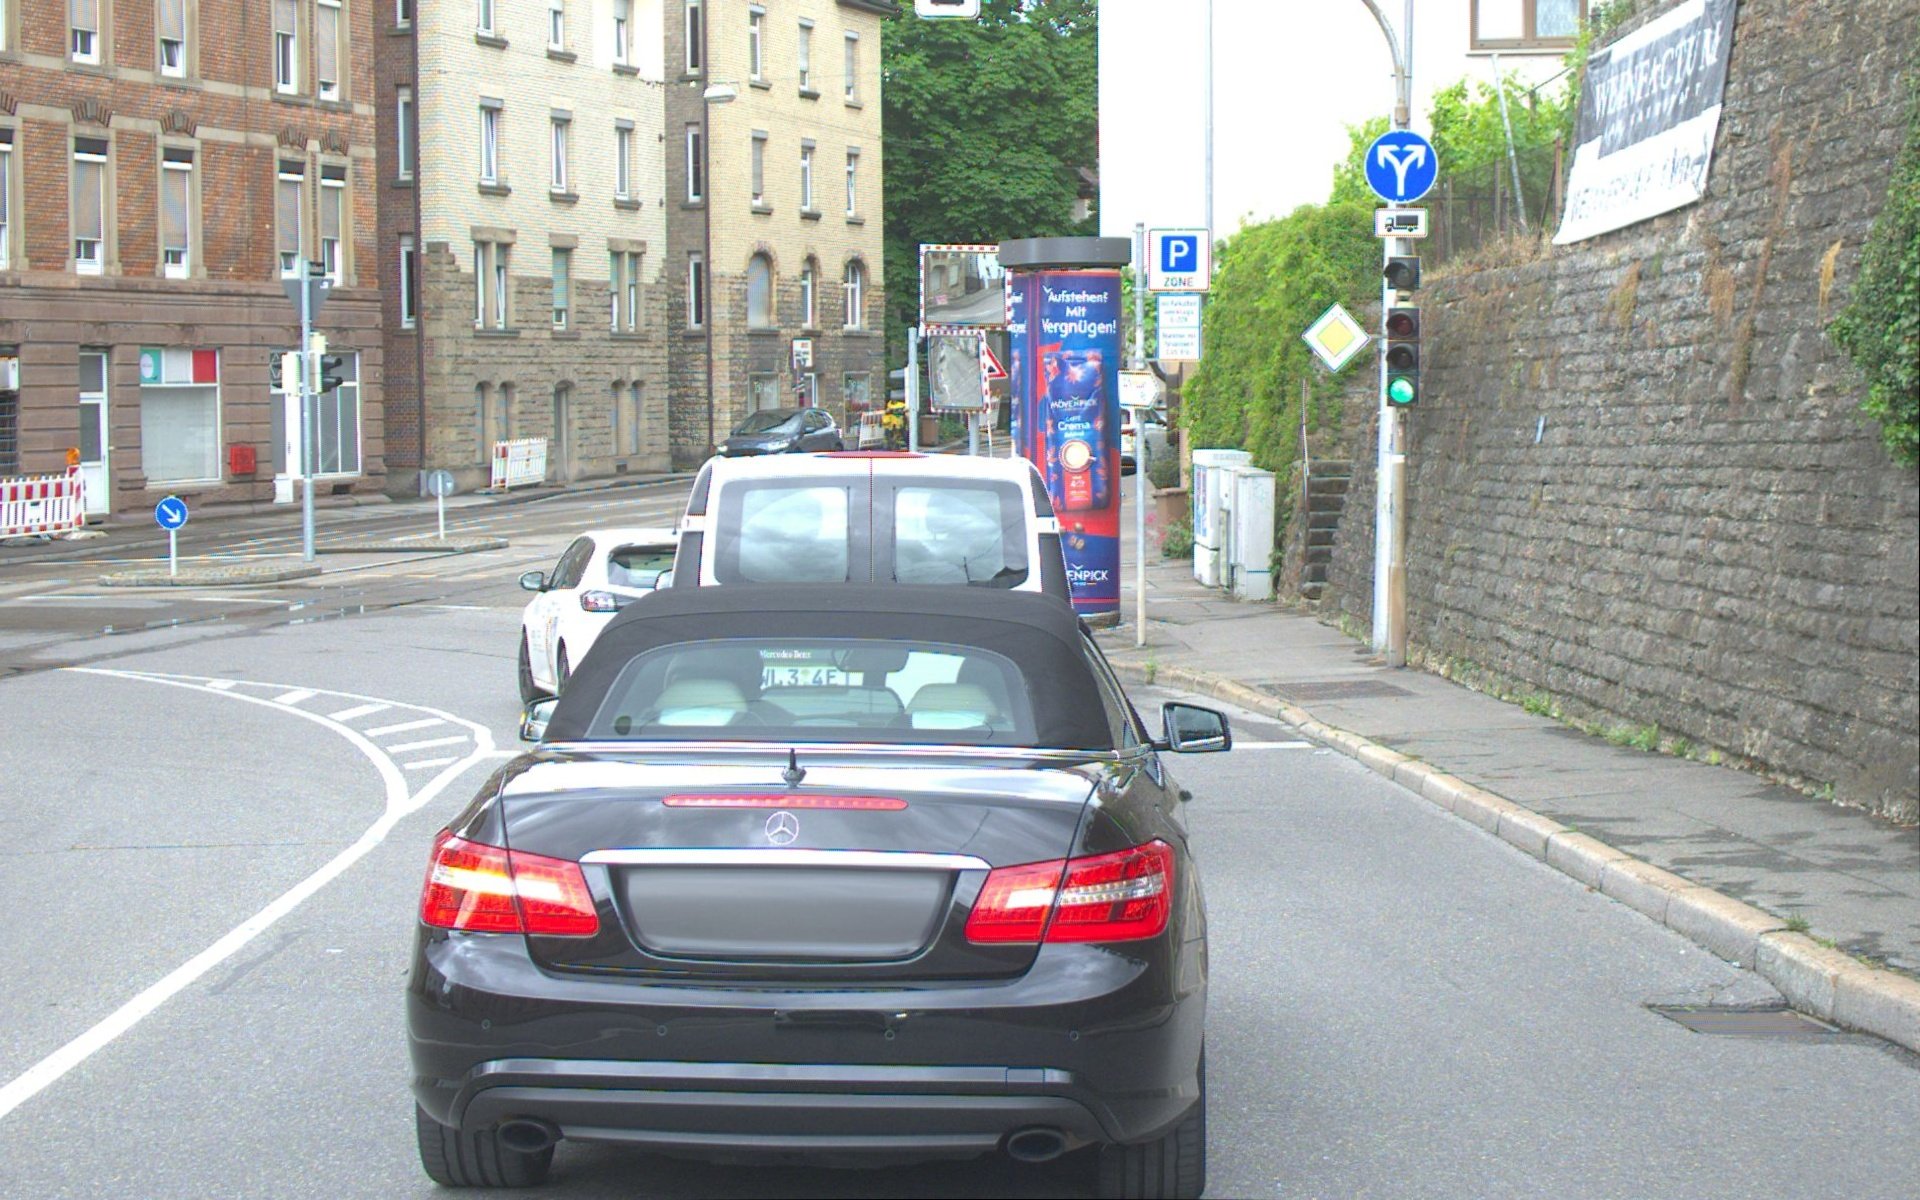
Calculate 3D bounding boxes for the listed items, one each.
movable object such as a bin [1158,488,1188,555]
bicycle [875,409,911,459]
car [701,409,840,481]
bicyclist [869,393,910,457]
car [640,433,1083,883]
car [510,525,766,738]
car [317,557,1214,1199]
[{"bbox_3d":[2.928,-1.081,47.304,0.343,0.908,0.495,0,2,-6],"label":"movable object such as a bin"},{"bbox_3d":[-1.840,-4.594,94.983,0.631,1.302,2.599,-4,3,5],"label":"bicycle"},{"bbox_3d":[-4.407,-3.660,80.724,1.995,1.509,4.284,0,4,15],"label":"car"},{"bbox_3d":[-1.940,-4.828,94.877,0.943,1.696,0.786,-4,3,5],"label":"bicyclist"},{"bbox_3d":[-0.442,0.195,17.074,1.891,1.922,4.646,0,1,-1],"label":"car"},{"bbox_3d":[-2.490,0.172,25.881,1.680,1.461,3.920,0,1,-9],"label":"car"},{"bbox_3d":[-0.404,0.618,8.979,1.761,1.404,4.399,0,1,-1],"label":"car"}]
